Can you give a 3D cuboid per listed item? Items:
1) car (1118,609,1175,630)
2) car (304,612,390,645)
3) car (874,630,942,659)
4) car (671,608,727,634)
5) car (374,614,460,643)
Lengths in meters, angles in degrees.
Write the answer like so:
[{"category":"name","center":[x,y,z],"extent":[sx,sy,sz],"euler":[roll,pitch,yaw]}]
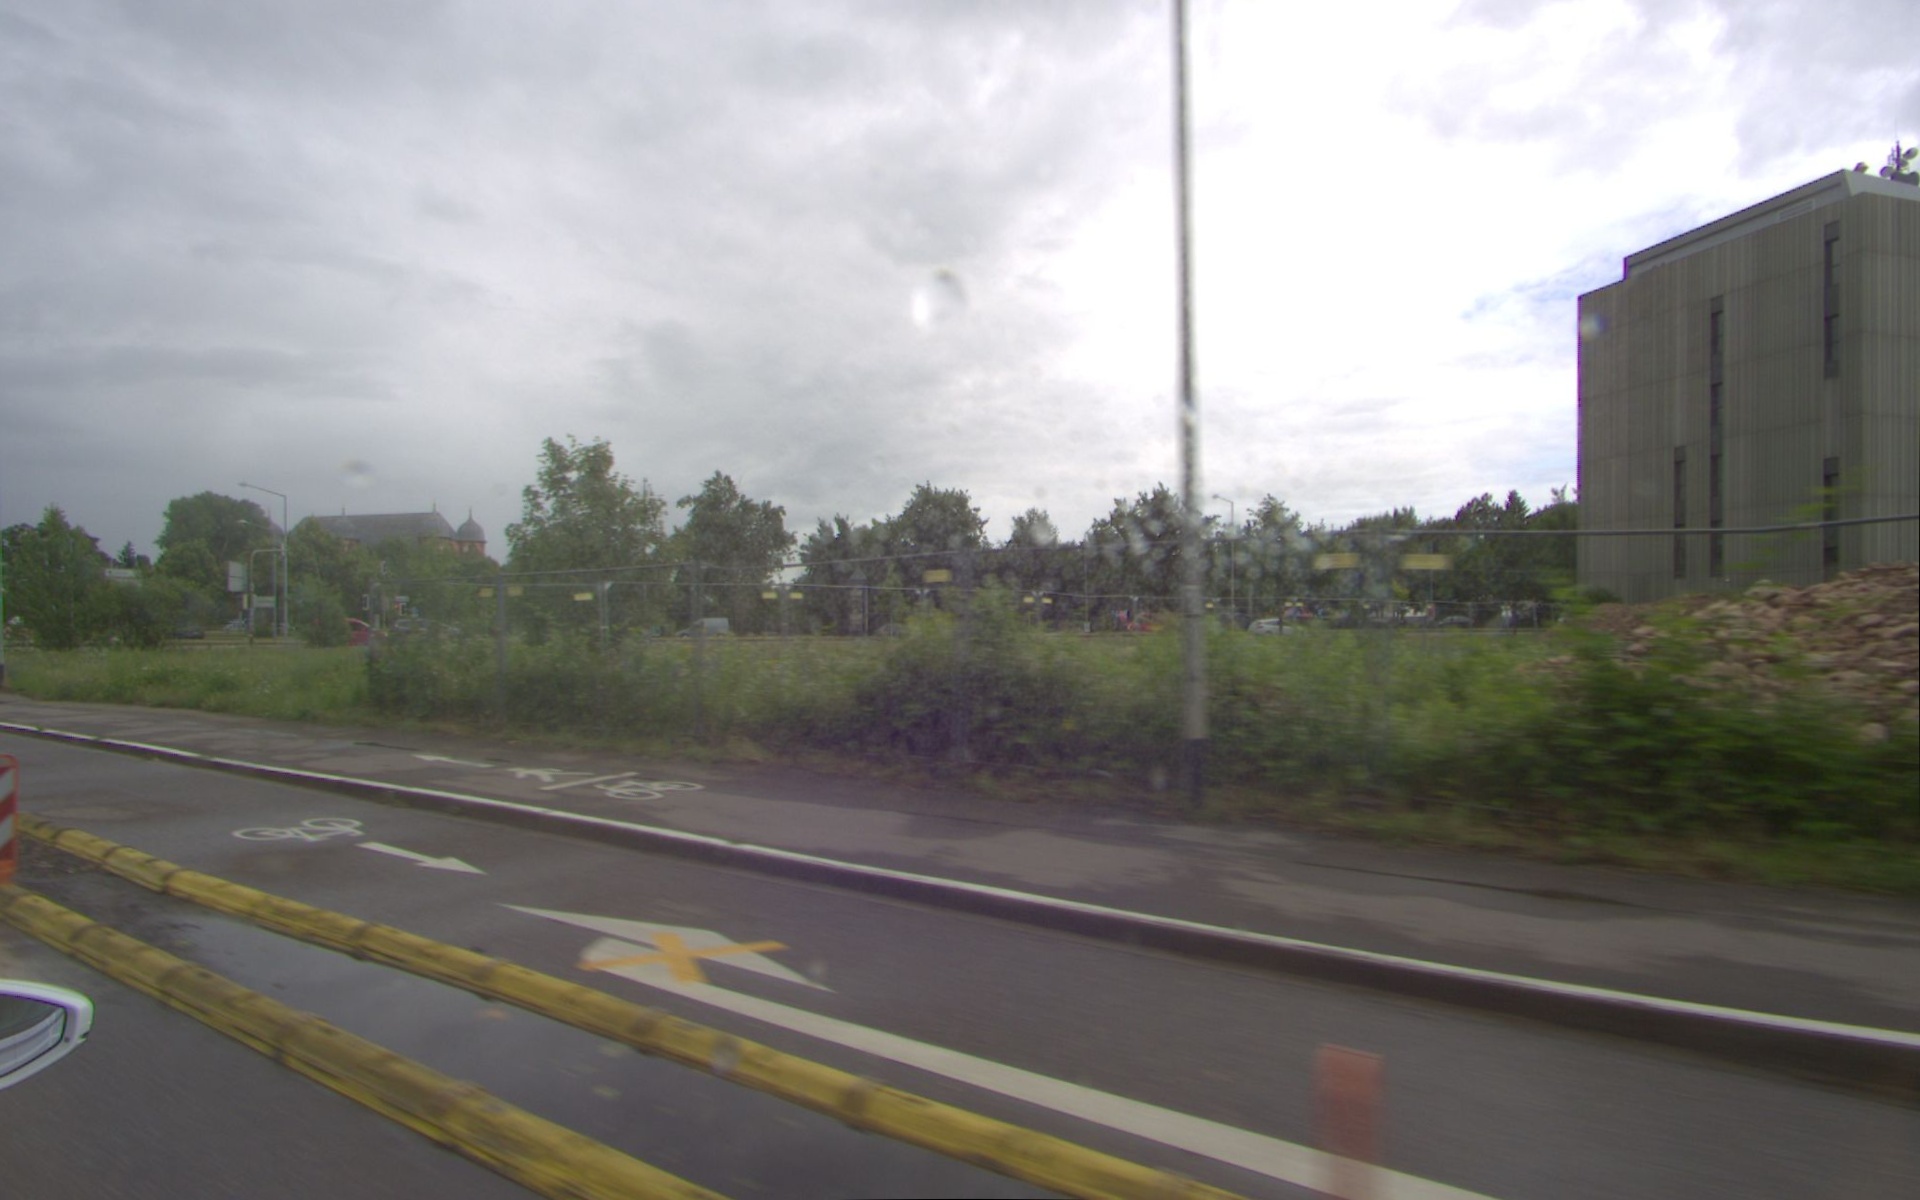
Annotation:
[{"category":"car","center":[17.341,1.823,93.085],"extent":[4.802,1.943,2.113],"euler":[0,-1,-15]},{"category":"car","center":[-36.447,1.667,59.661],"extent":[4.143,1.942,2.107],"euler":[0,-1,-26]},{"category":"car","center":[-3.490,2.917,66.652],"extent":[4.134,1.837,2.074],"euler":[0,-1,-17]},{"category":"car","center":[-21.481,1.726,82.622],"extent":[4.395,2.040,1.998],"euler":[0,0,-12]},{"category":"car","center":[-34.898,1.807,64.526],"extent":[4.527,1.819,2.112],"euler":[0,-1,-17]}]
